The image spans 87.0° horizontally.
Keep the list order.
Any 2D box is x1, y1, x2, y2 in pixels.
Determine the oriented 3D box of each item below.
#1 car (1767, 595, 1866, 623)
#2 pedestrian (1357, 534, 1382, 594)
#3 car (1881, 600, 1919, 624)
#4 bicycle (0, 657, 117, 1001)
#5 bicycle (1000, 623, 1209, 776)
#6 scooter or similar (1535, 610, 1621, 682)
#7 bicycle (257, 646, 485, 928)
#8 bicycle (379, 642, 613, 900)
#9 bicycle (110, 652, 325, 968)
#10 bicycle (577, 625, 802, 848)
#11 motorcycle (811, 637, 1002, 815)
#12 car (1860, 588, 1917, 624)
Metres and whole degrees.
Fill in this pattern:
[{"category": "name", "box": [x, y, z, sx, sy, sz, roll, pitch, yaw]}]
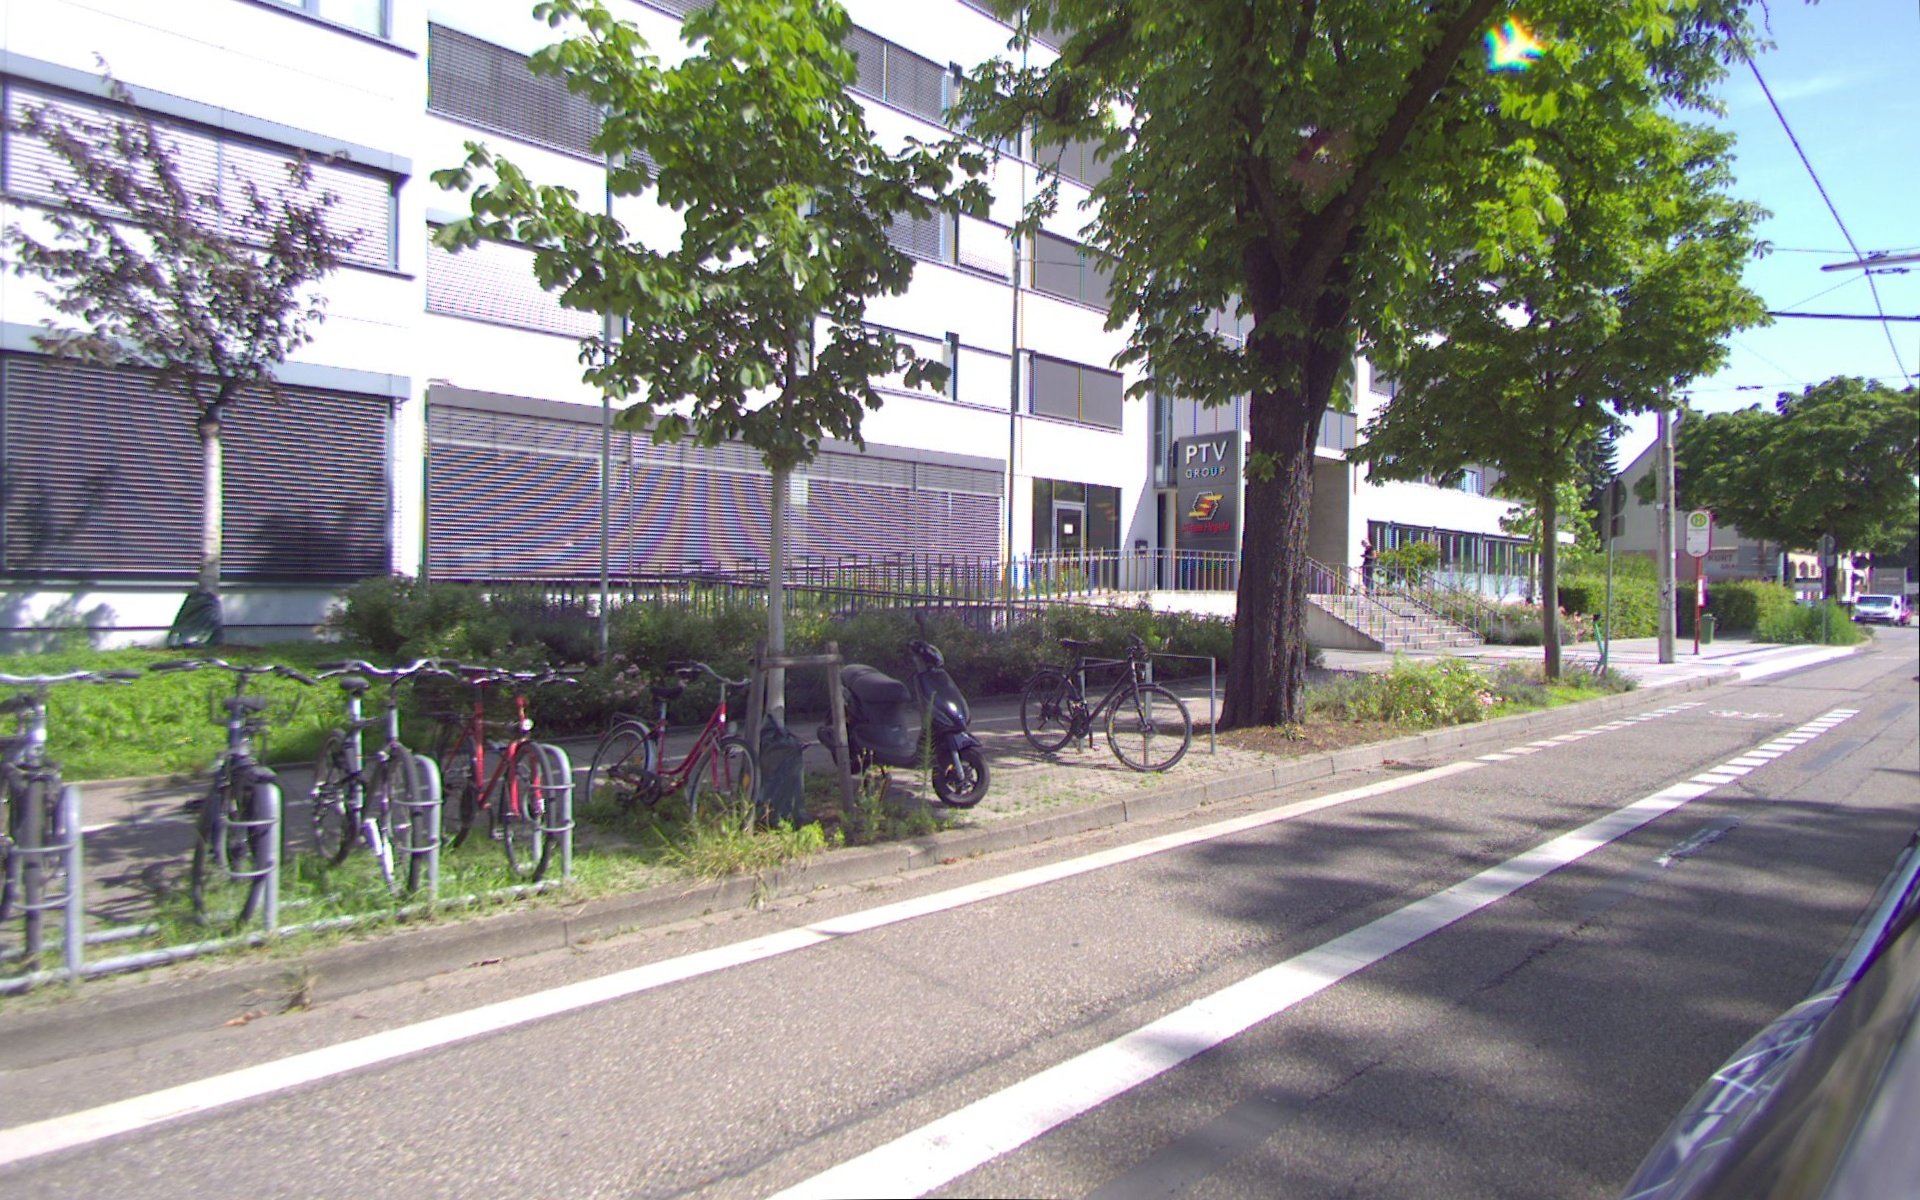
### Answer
[{"category": "car", "box": [44.371, 0.446, 52.482, 1.642, 1.405, 3.752, 0, 0, -40]}, {"category": "pedestrian", "box": [12.019, -1.041, 29.674, 0.537, 1.750, 0.499, 0, 0, -42]}, {"category": "car", "box": [62.065, 0.763, 66.526, 4.237, 1.461, 1.725, 0, 2, -41]}, {"category": "bicycle", "box": [-3.833, 0.808, 4.089, 0.541, 1.097, 1.887, 0, -2, -43]}, {"category": "bicycle", "box": [1.178, 0.782, 8.585, 0.586, 1.096, 1.776, 0, 1, -43]}, {"category": "scooter or similar", "box": [10.511, 0.761, 17.238, 0.484, 1.169, 1.146, 0, 0, -35]}, {"category": "bicycle", "box": [-2.920, 0.785, 4.919, 0.541, 1.097, 1.912, 0, -2, -43]}, {"category": "bicycle", "box": [-2.509, 0.789, 5.344, 0.541, 1.097, 1.913, 0, -2, -43]}, {"category": "bicycle", "box": [-3.354, 0.792, 4.500, 0.541, 1.097, 1.913, 0, -2, -43]}, {"category": "bicycle", "box": [-1.746, 0.763, 6.338, 0.586, 1.134, 1.776, 0, 1, -43]}, {"category": "motorcycle", "box": [-0.414, 0.830, 7.193, 0.525, 1.059, 1.467, 0, 1, -43]}, {"category": "car", "box": [57.142, 0.349, 62.229, 5.100, 2.080, 1.980, 0, 2, -41]}]
